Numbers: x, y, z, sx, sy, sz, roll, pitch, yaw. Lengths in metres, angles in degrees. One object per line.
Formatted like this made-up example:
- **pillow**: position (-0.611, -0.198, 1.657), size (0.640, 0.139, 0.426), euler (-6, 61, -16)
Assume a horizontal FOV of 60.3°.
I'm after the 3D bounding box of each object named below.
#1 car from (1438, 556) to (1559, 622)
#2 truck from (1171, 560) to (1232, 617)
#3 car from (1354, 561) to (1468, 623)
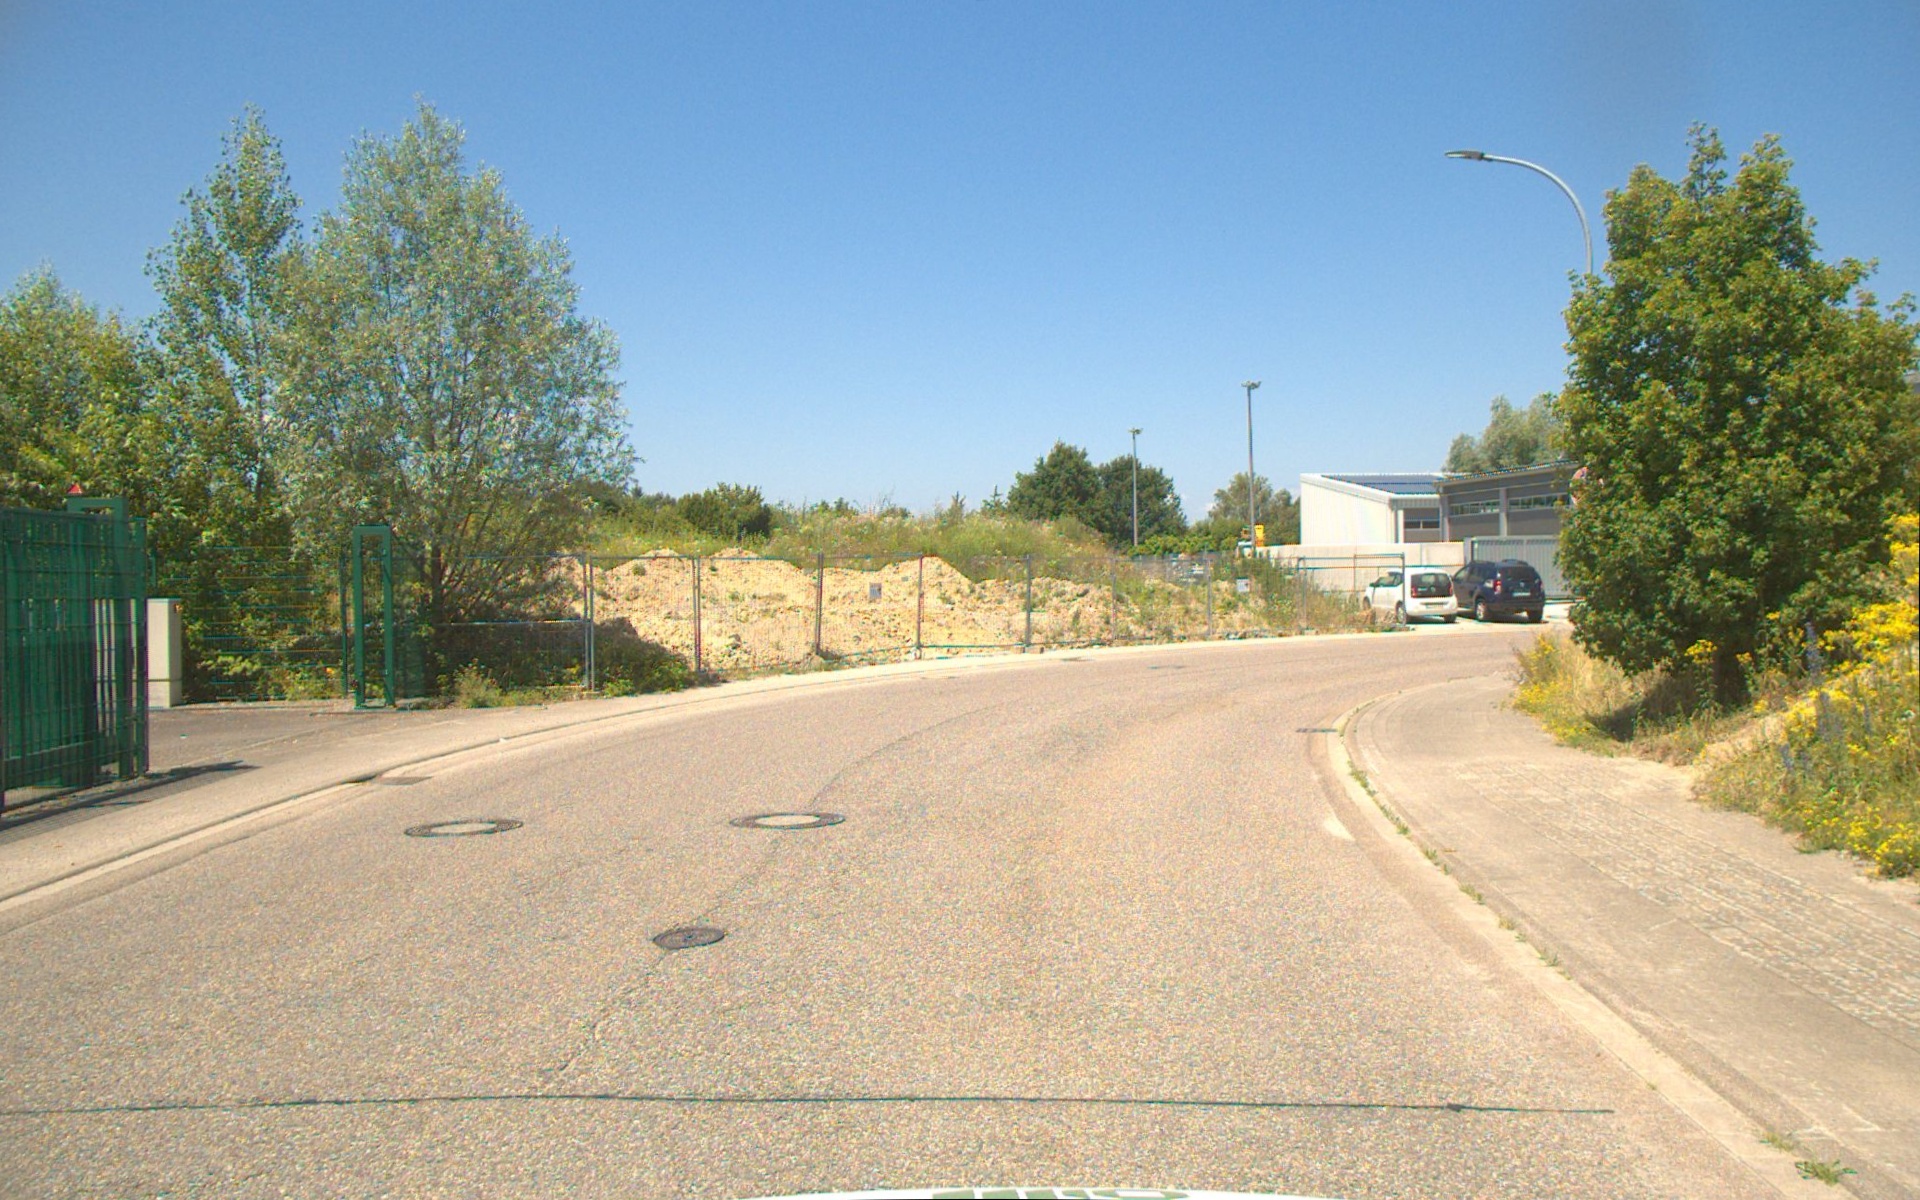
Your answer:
- **car**: position (15.307, -0.350, 47.188), size (1.761, 1.636, 3.695), euler (-2, 4, -10)
- **truck**: position (13.284, -0.629, 91.237), size (1.957, 3.036, 4.636), euler (-2, 0, -9)
- **car**: position (12.877, -0.277, 47.433), size (1.750, 1.524, 3.695), euler (-2, 4, -10)
